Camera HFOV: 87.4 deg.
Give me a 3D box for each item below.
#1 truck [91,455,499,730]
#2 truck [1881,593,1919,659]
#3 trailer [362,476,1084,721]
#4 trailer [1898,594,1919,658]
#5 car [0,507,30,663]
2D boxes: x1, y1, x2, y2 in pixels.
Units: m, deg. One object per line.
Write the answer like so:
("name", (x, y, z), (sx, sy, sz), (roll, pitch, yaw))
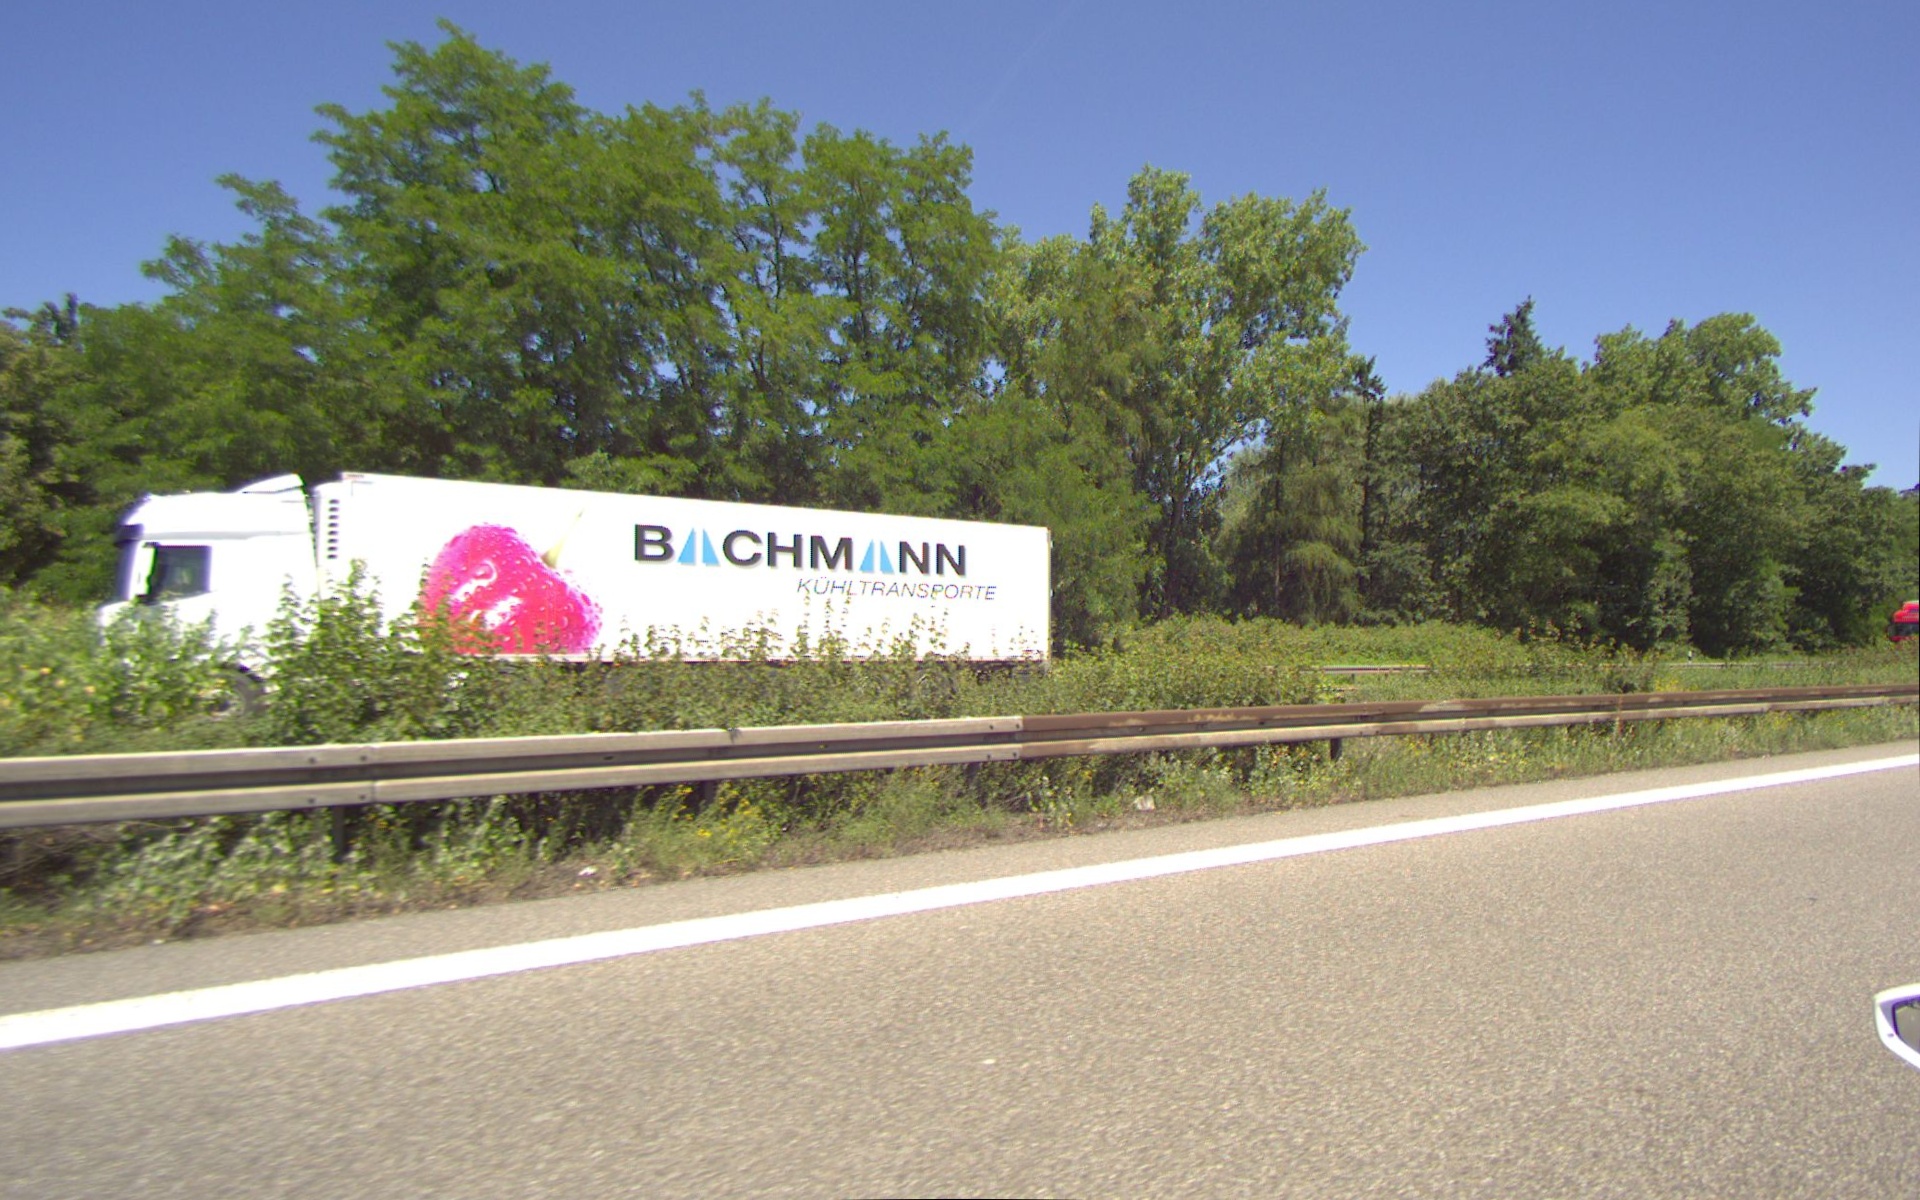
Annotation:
("truck", (-10.391, -0.063, 16.283), (5.056, 3.771, 2.782), (1, 0, -30))
("truck", (52.273, 1.422, 54.072), (5.058, 3.468, 2.585), (1, 0, -31))
("trailer", (-3.894, 0.110, 20.107), (13.766, 3.759, 2.812), (1, 0, -31))
("trailer", (58.218, 1.583, 57.633), (13.992, 3.463, 2.573), (1, 0, -31))
("car", (-13.324, -0.226, 10.134), (5.361, 1.804, 2.291), (1, 0, -31))
